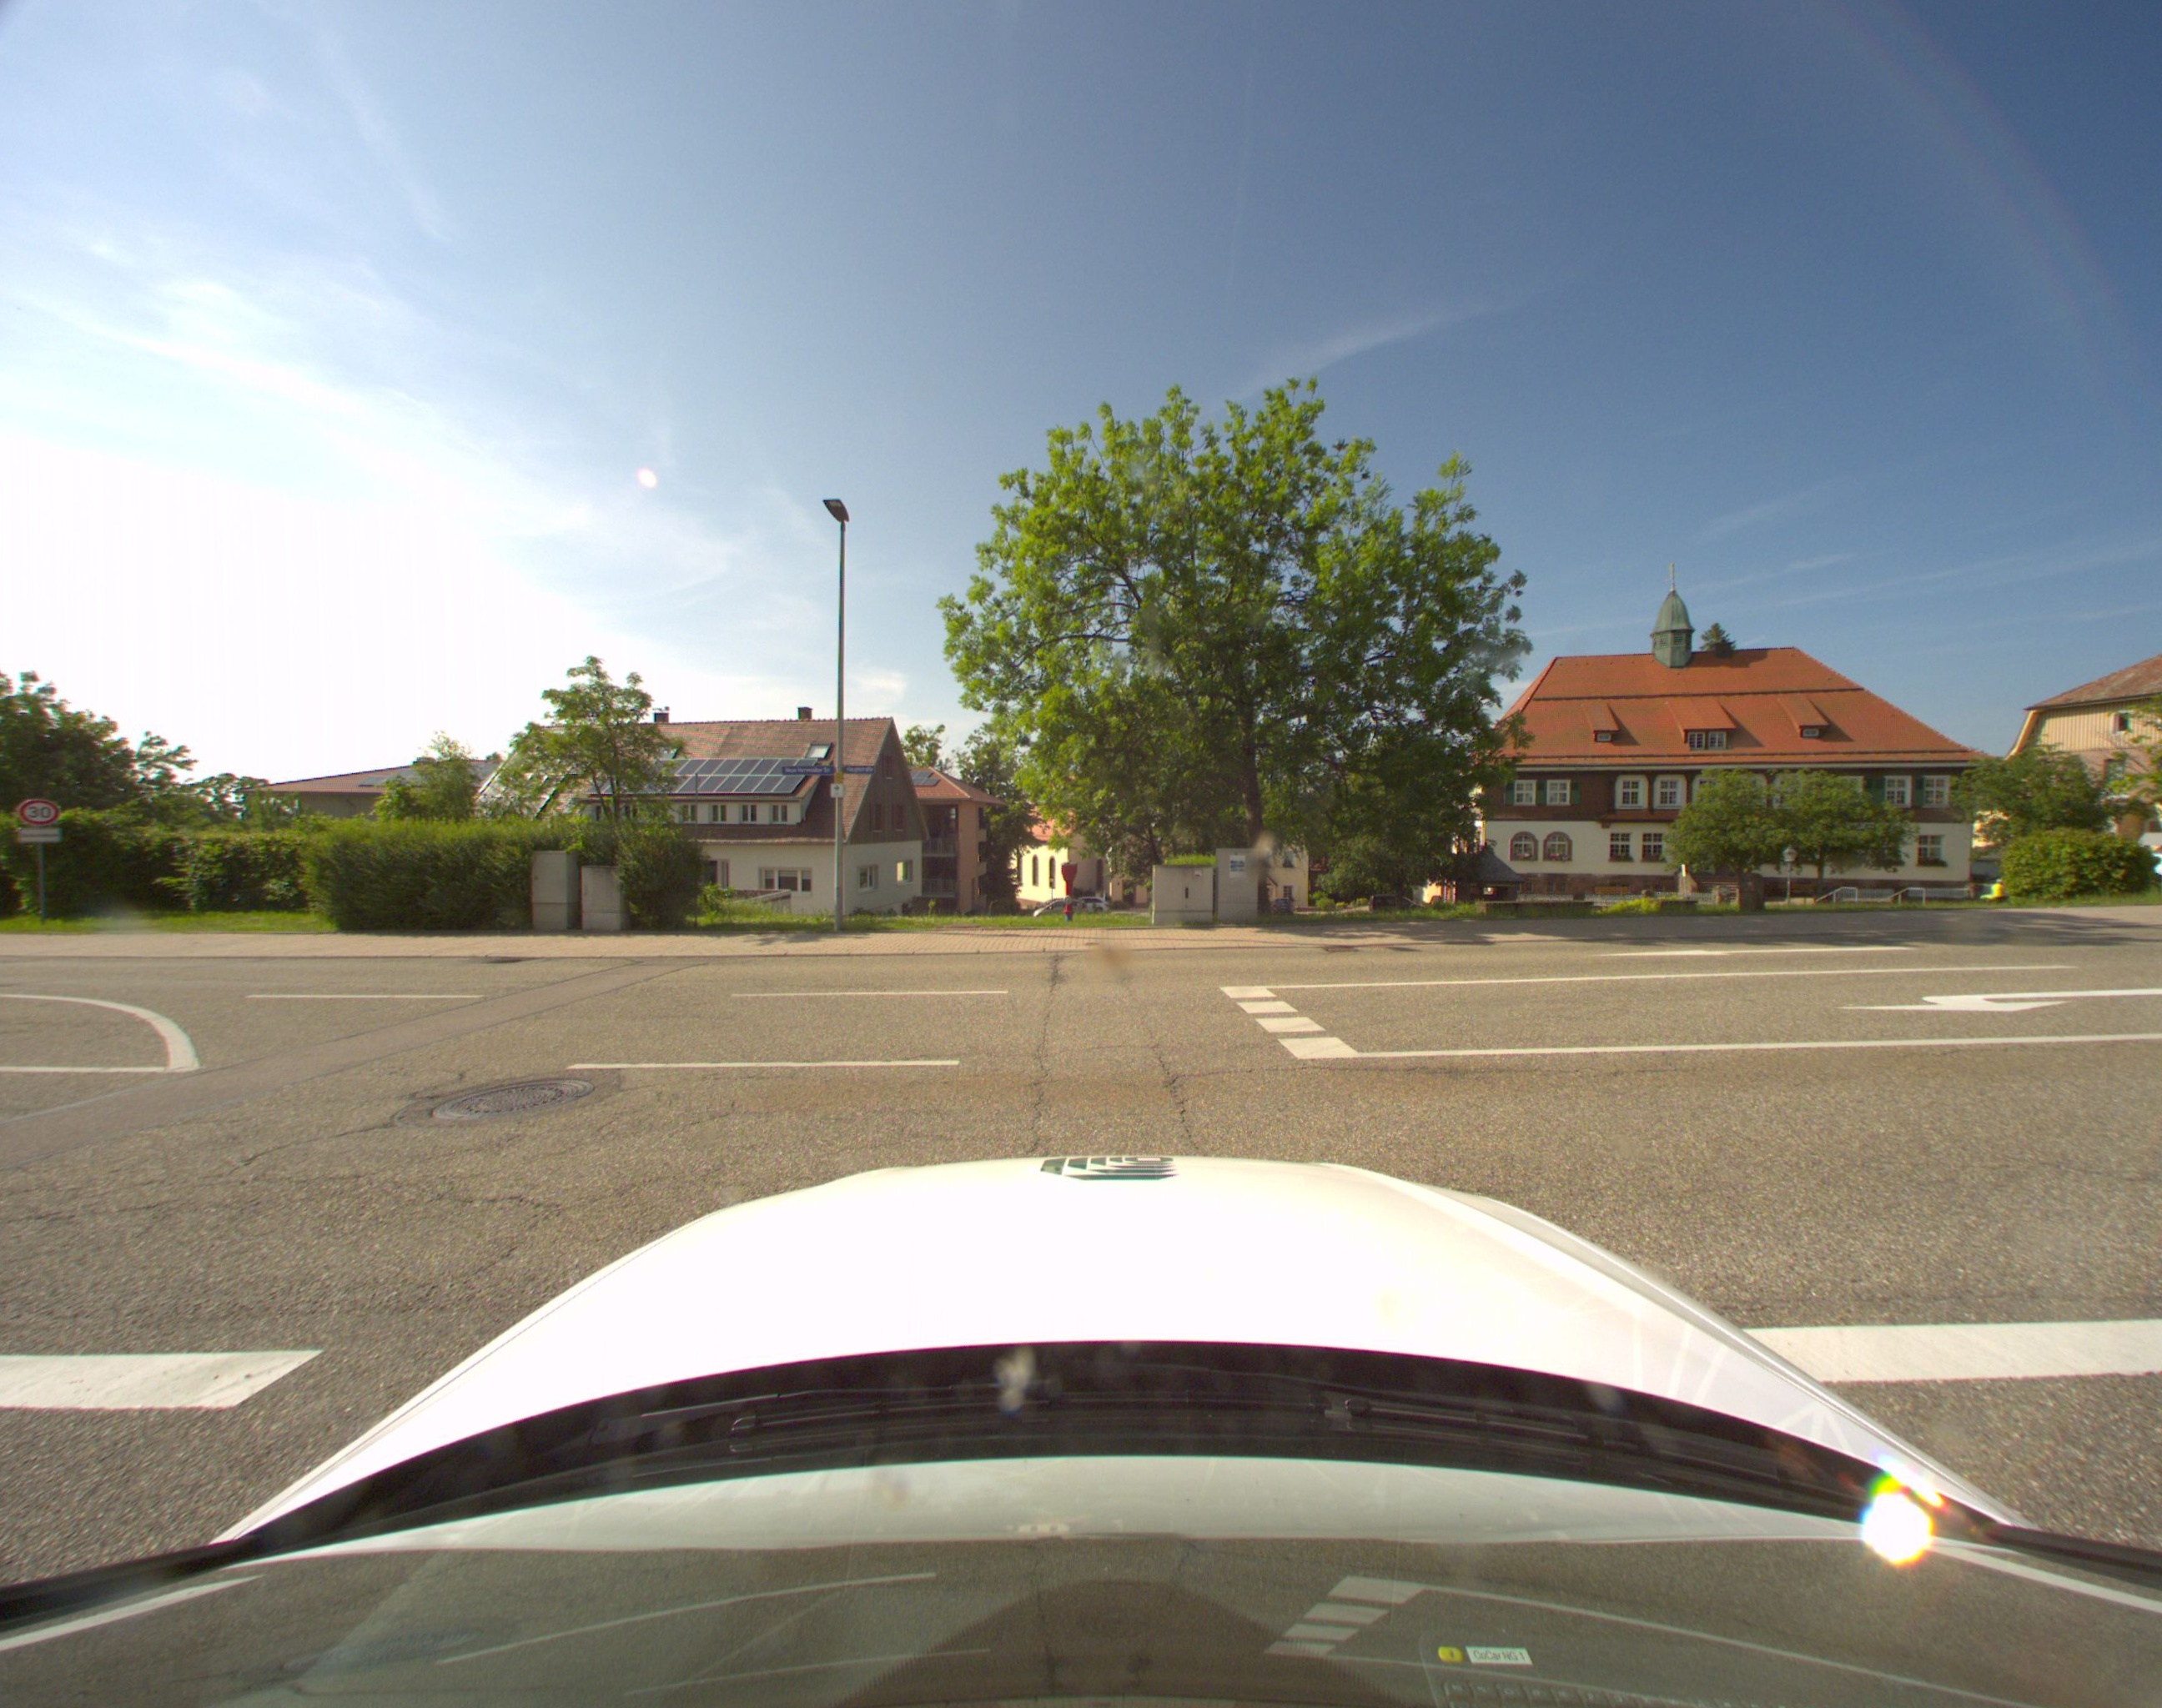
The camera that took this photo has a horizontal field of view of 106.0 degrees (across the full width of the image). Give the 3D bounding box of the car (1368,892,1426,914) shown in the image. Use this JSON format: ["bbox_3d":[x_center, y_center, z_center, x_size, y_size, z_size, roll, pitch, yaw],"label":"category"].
[{"bbox_3d":[23.165,3.596,59.840,3.745,1.444,1.720,-2,-2,14],"label":"car"}]

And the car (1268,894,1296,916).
[{"bbox_3d":[16.351,4.134,66.374,1.699,1.542,3.792,-1,-2,6],"label":"car"}]

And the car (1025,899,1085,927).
[{"bbox_3d":[-1.801,4.093,56.925,4.081,1.758,1.712,-1,-2,-3],"label":"car"}]

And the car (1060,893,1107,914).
[{"bbox_3d":[0.201,4.074,67.681,3.765,1.594,1.711,-1,-2,-4],"label":"car"}]

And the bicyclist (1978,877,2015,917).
[{"bbox_3d":[44.858,2.121,39.897,0.988,1.925,0.583,-1,-2,9],"label":"bicyclist"}]

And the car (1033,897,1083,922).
[{"bbox_3d":[-1.785,4.277,62.712,3.765,1.758,1.711,-1,-2,-4],"label":"car"}]

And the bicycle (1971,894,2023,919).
[{"bbox_3d":[44.851,2.561,39.892,1.712,1.190,0.540,-1,-2,9],"label":"bicycle"}]
